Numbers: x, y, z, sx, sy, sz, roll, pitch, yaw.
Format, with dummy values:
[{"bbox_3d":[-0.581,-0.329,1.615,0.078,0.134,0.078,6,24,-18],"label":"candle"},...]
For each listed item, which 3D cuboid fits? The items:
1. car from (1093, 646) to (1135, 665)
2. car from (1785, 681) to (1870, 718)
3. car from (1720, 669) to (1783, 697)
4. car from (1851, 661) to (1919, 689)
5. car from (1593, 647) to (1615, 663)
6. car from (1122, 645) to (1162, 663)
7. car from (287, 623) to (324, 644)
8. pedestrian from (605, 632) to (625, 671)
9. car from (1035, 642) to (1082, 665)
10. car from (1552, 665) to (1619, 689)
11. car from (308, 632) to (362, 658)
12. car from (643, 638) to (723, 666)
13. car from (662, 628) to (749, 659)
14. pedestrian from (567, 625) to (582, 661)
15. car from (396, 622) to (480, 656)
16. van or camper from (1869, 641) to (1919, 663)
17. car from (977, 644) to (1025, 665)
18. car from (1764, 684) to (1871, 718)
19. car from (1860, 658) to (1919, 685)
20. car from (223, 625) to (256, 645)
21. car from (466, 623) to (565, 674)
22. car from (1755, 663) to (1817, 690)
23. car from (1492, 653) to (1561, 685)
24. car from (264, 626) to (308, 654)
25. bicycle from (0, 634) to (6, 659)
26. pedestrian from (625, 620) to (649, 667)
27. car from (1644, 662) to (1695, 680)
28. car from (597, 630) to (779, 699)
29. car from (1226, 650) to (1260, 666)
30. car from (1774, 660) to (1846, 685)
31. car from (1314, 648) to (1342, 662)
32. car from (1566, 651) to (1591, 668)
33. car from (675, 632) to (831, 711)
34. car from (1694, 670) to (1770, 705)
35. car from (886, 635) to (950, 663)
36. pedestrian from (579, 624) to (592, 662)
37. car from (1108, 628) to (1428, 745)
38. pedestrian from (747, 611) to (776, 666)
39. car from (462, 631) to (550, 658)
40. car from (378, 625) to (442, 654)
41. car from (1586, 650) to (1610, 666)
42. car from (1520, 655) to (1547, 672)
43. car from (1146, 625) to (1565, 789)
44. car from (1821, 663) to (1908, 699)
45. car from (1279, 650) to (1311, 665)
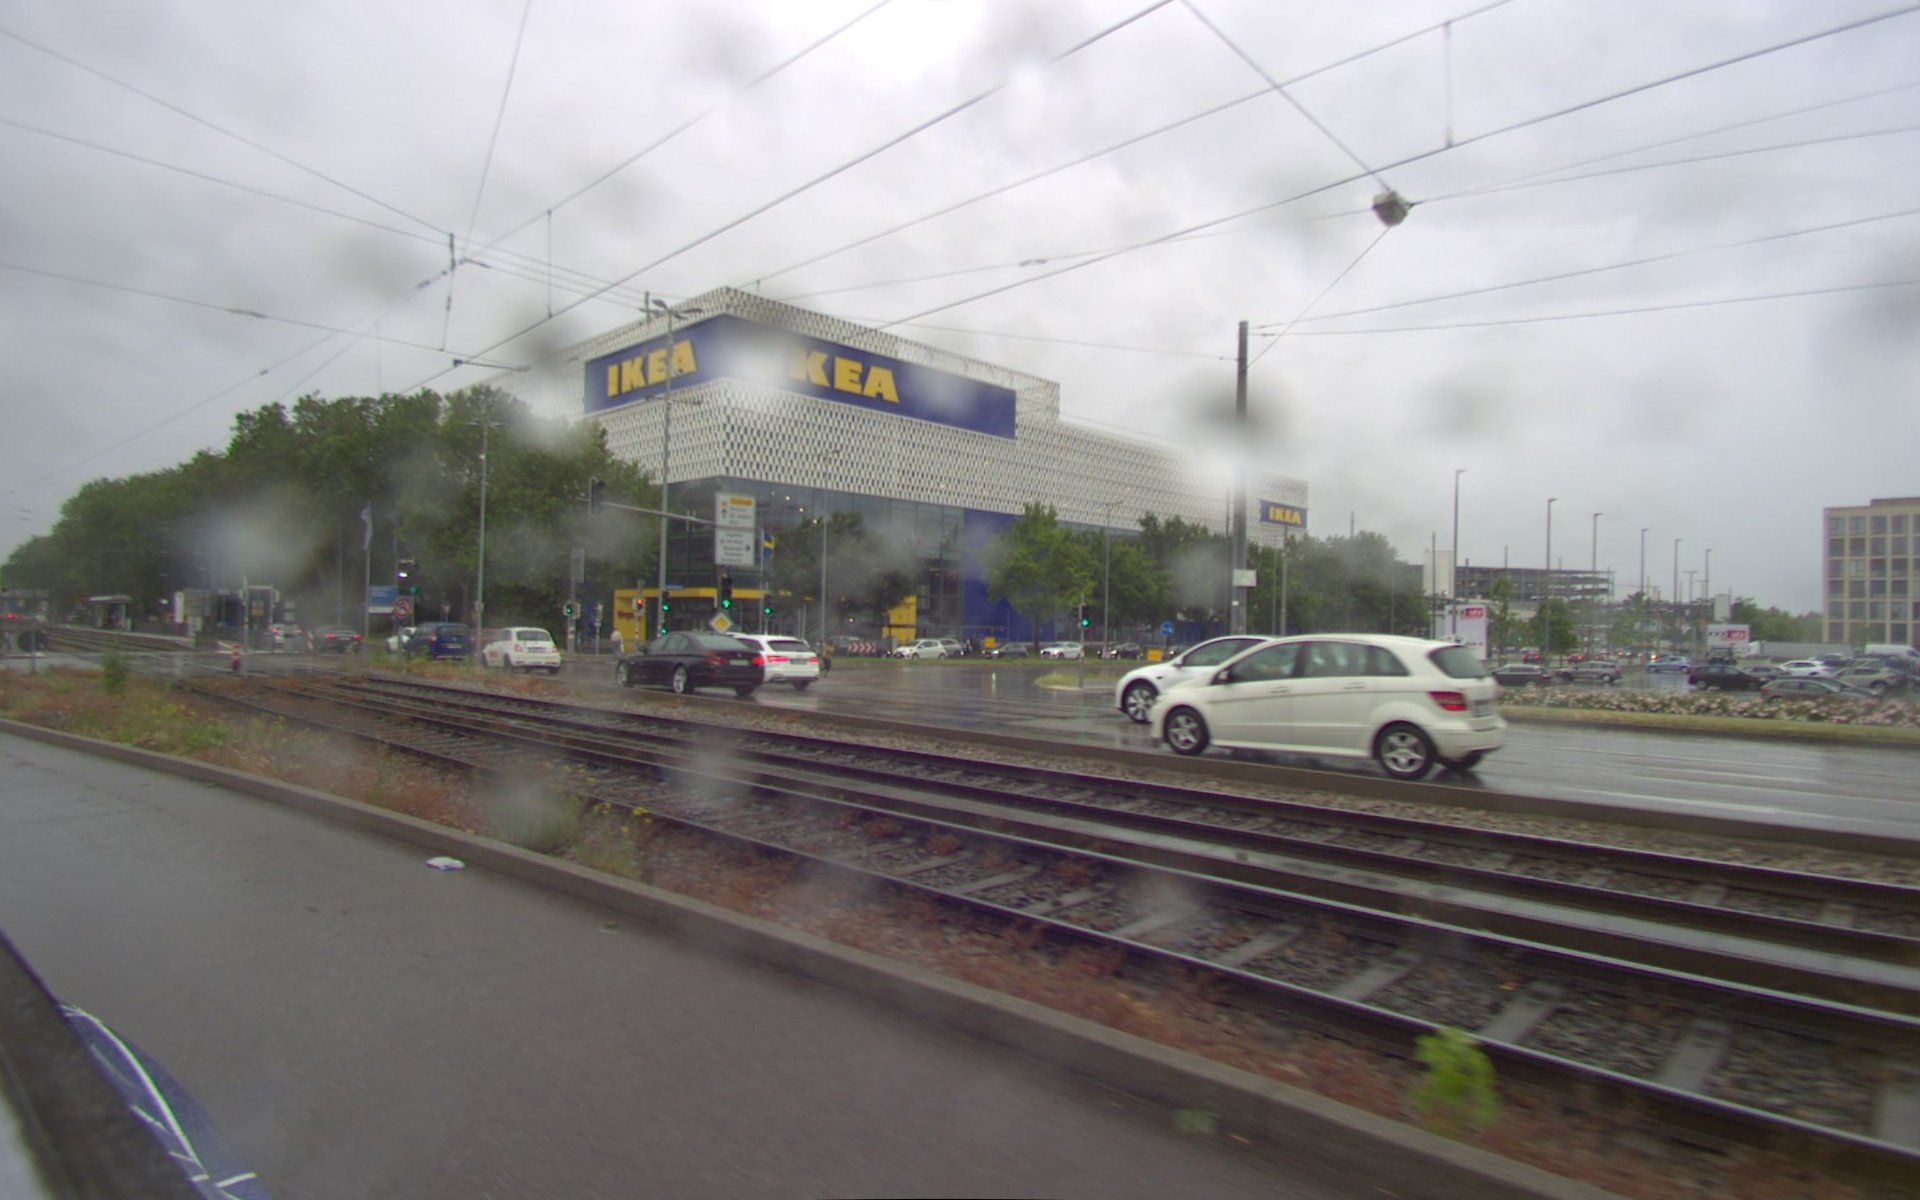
[{"bbox_3d":[13.407,4.781,87.924,3.768,1.417,1.604,0,0,-44],"label":"car"},{"bbox_3d":[43.398,4.934,50.681,3.167,1.535,1.551,0,0,41],"label":"car"},{"bbox_3d":[51.672,5.386,66.064,3.167,1.535,1.551,0,0,41],"label":"car"},{"bbox_3d":[59.137,4.796,64.745,3.167,1.535,1.551,0,0,41],"label":"car"},{"bbox_3d":[95.024,8.093,149.331,3.941,2.029,2.001,0,0,-45],"label":"car"},{"bbox_3d":[16.311,4.802,90.592,3.768,1.417,1.604,0,0,-44],"label":"car"},{"bbox_3d":[-48.008,2.477,74.218,1.563,1.425,3.917,0,-1,-44],"label":"car"},{"bbox_3d":[-18.645,2.771,54.706,0.772,2.029,0.860,0,0,-39],"label":"pedestrian"},{"bbox_3d":[8.128,4.355,83.046,3.954,1.686,1.684,0,0,-44],"label":"car"},{"bbox_3d":[46.264,5.668,74.853,4.039,1.536,1.694,0,0,40],"label":"car"},{"bbox_3d":[-33.499,2.392,54.213,1.692,1.259,4.051,-1,-1,-44],"label":"car"},{"bbox_3d":[-16.241,3.050,59.439,4.225,1.553,1.821,2,-3,-44],"label":"car"},{"bbox_3d":[-14.267,2.420,56.848,4.397,1.552,1.821,0,-2,-44],"label":"car"},{"bbox_3d":[-22.015,2.459,57.833,0.683,2.029,0.630,-2,-1,-15],"label":"pedestrian"},{"bbox_3d":[-20.984,1.556,40.602,1.692,1.259,4.464,-1,-1,-45],"label":"car"},{"bbox_3d":[100.927,5.594,108.563,4.987,2.129,1.763,0,0,39],"label":"van or camper"},{"bbox_3d":[3.200,4.170,78.485,3.768,1.417,1.604,0,0,-44],"label":"car"},{"bbox_3d":[39.901,4.676,47.158,3.722,1.274,1.531,0,0,41],"label":"car"},{"bbox_3d":[62.490,4.779,67.849,3.167,1.535,1.551,0,0,41],"label":"car"},{"bbox_3d":[-52.063,2.547,73.096,1.562,1.377,4.207,-1,-1,-41],"label":"car"},{"bbox_3d":[-14.693,1.564,33.329,1.692,1.547,4.050,-1,-1,-44],"label":"car"},{"bbox_3d":[54.949,5.092,67.337,3.167,1.535,1.551,0,0,41],"label":"car"},{"bbox_3d":[40.815,4.916,72.951,3.998,2.029,1.973,0,0,41],"label":"car"},{"bbox_3d":[-43.030,2.549,64.547,1.691,1.721,4.434,-1,-1,-42],"label":"car"},{"bbox_3d":[-40.815,1.964,41.909,0.670,1.016,1.846,-3,-1,42],"label":"bicycle"},{"bbox_3d":[-16.182,2.158,50.725,0.906,2.261,0.992,-1,2,-33],"label":"pedestrian"},{"bbox_3d":[66.063,6.573,94.290,1.759,1.417,3.571,0,0,-42],"label":"car"},{"bbox_3d":[-6.597,1.524,24.186,1.900,1.434,5.086,7,-7,-44],"label":"car"},{"bbox_3d":[29.213,5.969,104.276,3.926,1.417,1.604,0,0,-44],"label":"car"},{"bbox_3d":[63.526,5.414,75.642,4.008,1.573,1.739,0,0,44],"label":"car"},{"bbox_3d":[42.708,6.409,117.506,3.768,1.417,1.604,0,0,-44],"label":"car"},{"bbox_3d":[85.767,8.235,140.347,3.941,2.029,2.001,0,0,-45],"label":"car"},{"bbox_3d":[-5.900,1.915,28.463,4.793,1.916,1.971,0,0,45],"label":"car"},{"bbox_3d":[49.772,5.632,65.264,3.830,1.919,1.799,0,0,40],"label":"car"},{"bbox_3d":[-2.780,3.249,67.571,2.001,1.615,4.049,0,0,45],"label":"car"},{"bbox_3d":[-21.430,2.451,57.931,0.562,2.151,0.634,-2,-1,-14],"label":"pedestrian"},{"bbox_3d":[5.082,1.341,17.211,4.842,1.618,1.887,-2,0,43],"label":"car"},{"bbox_3d":[-7.527,1.442,38.386,0.857,2.029,0.688,0,0,37],"label":"pedestrian"},{"bbox_3d":[-30.066,2.956,67.094,5.001,1.579,1.995,-2,-1,8],"label":"car"},{"bbox_3d":[-29.492,2.115,54.236,1.791,1.447,4.716,-1,-1,-44],"label":"car"},{"bbox_3d":[91.053,8.209,144.422,3.941,2.029,2.001,0,0,-45],"label":"car"},{"bbox_3d":[73.946,8.157,130.422,3.941,2.029,2.001,0,0,-45],"label":"car"},{"bbox_3d":[4.597,1.144,12.252,1.851,1.585,4.331,-1,-1,-44],"label":"car"},{"bbox_3d":[55.640,4.973,62.335,3.902,1.919,1.799,0,0,40],"label":"car"},{"bbox_3d":[37.082,6.336,111.927,4.104,1.417,1.711,0,0,-44],"label":"car"}]
